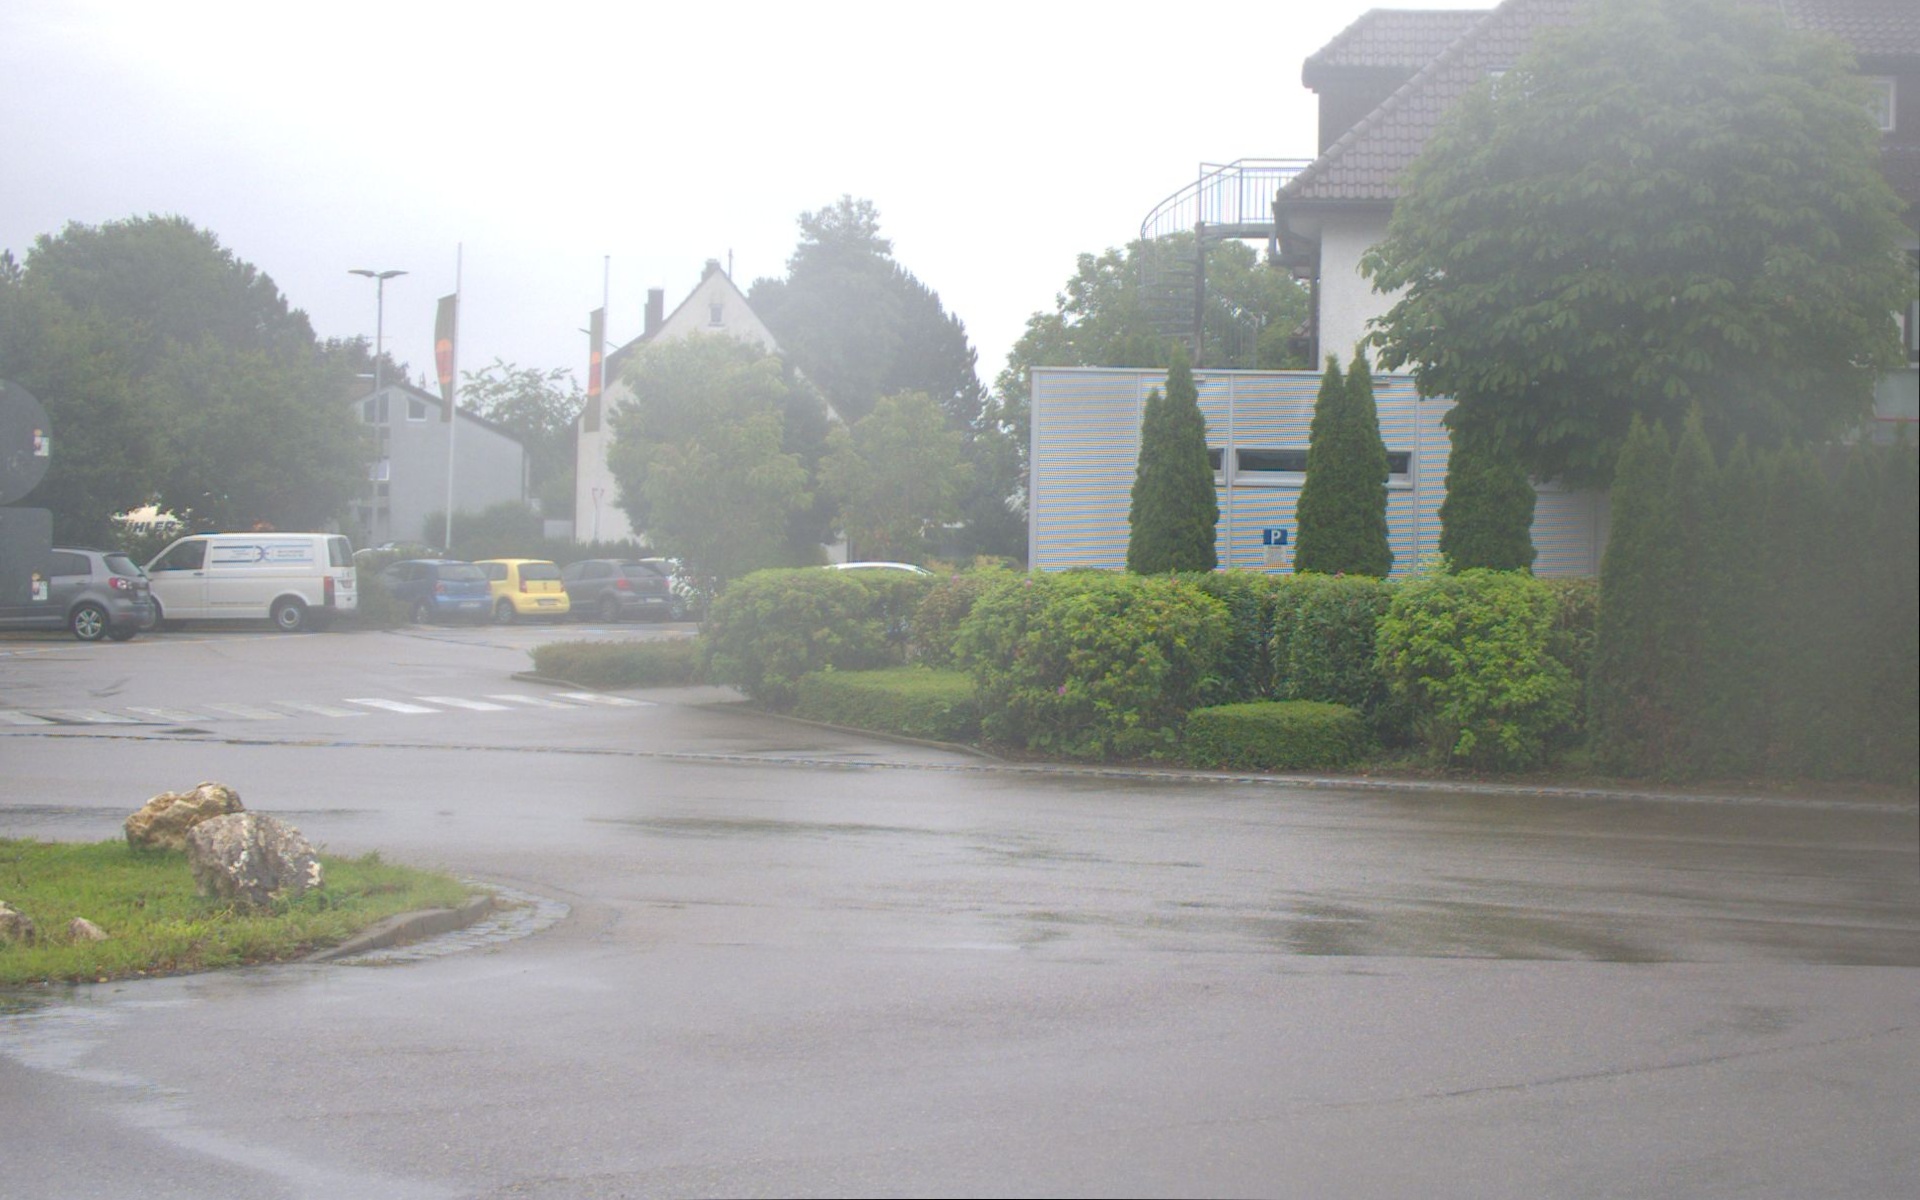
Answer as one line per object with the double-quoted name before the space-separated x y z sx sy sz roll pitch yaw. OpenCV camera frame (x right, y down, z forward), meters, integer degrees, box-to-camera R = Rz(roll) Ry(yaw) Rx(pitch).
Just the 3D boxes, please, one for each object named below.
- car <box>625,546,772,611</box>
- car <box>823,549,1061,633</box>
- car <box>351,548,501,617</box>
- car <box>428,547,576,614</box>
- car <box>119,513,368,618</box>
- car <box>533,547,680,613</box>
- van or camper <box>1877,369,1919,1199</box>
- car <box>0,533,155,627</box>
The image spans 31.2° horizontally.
"car" -6.149 -0.521 80.575 1.581 1.453 3.679 -1 2 -40
"car" -0.297 -0.168 62.349 4.176 1.492 1.717 0 1 5
"car" -11.707 -0.402 75.257 1.551 1.453 3.679 -1 2 -40
"car" -10.355 -0.465 77.635 1.581 1.453 3.679 -1 2 -40
"car" -14.150 -0.695 67.998 4.521 2.026 1.645 0 1 6
"car" -8.150 -0.470 79.070 1.581 1.453 3.679 -1 2 -40
"van or camper" 4.937 0.538 8.415 5.180 1.938 2.195 2 0 -32
"car" -15.674 -0.347 58.138 3.733 1.545 1.450 0 1 6
